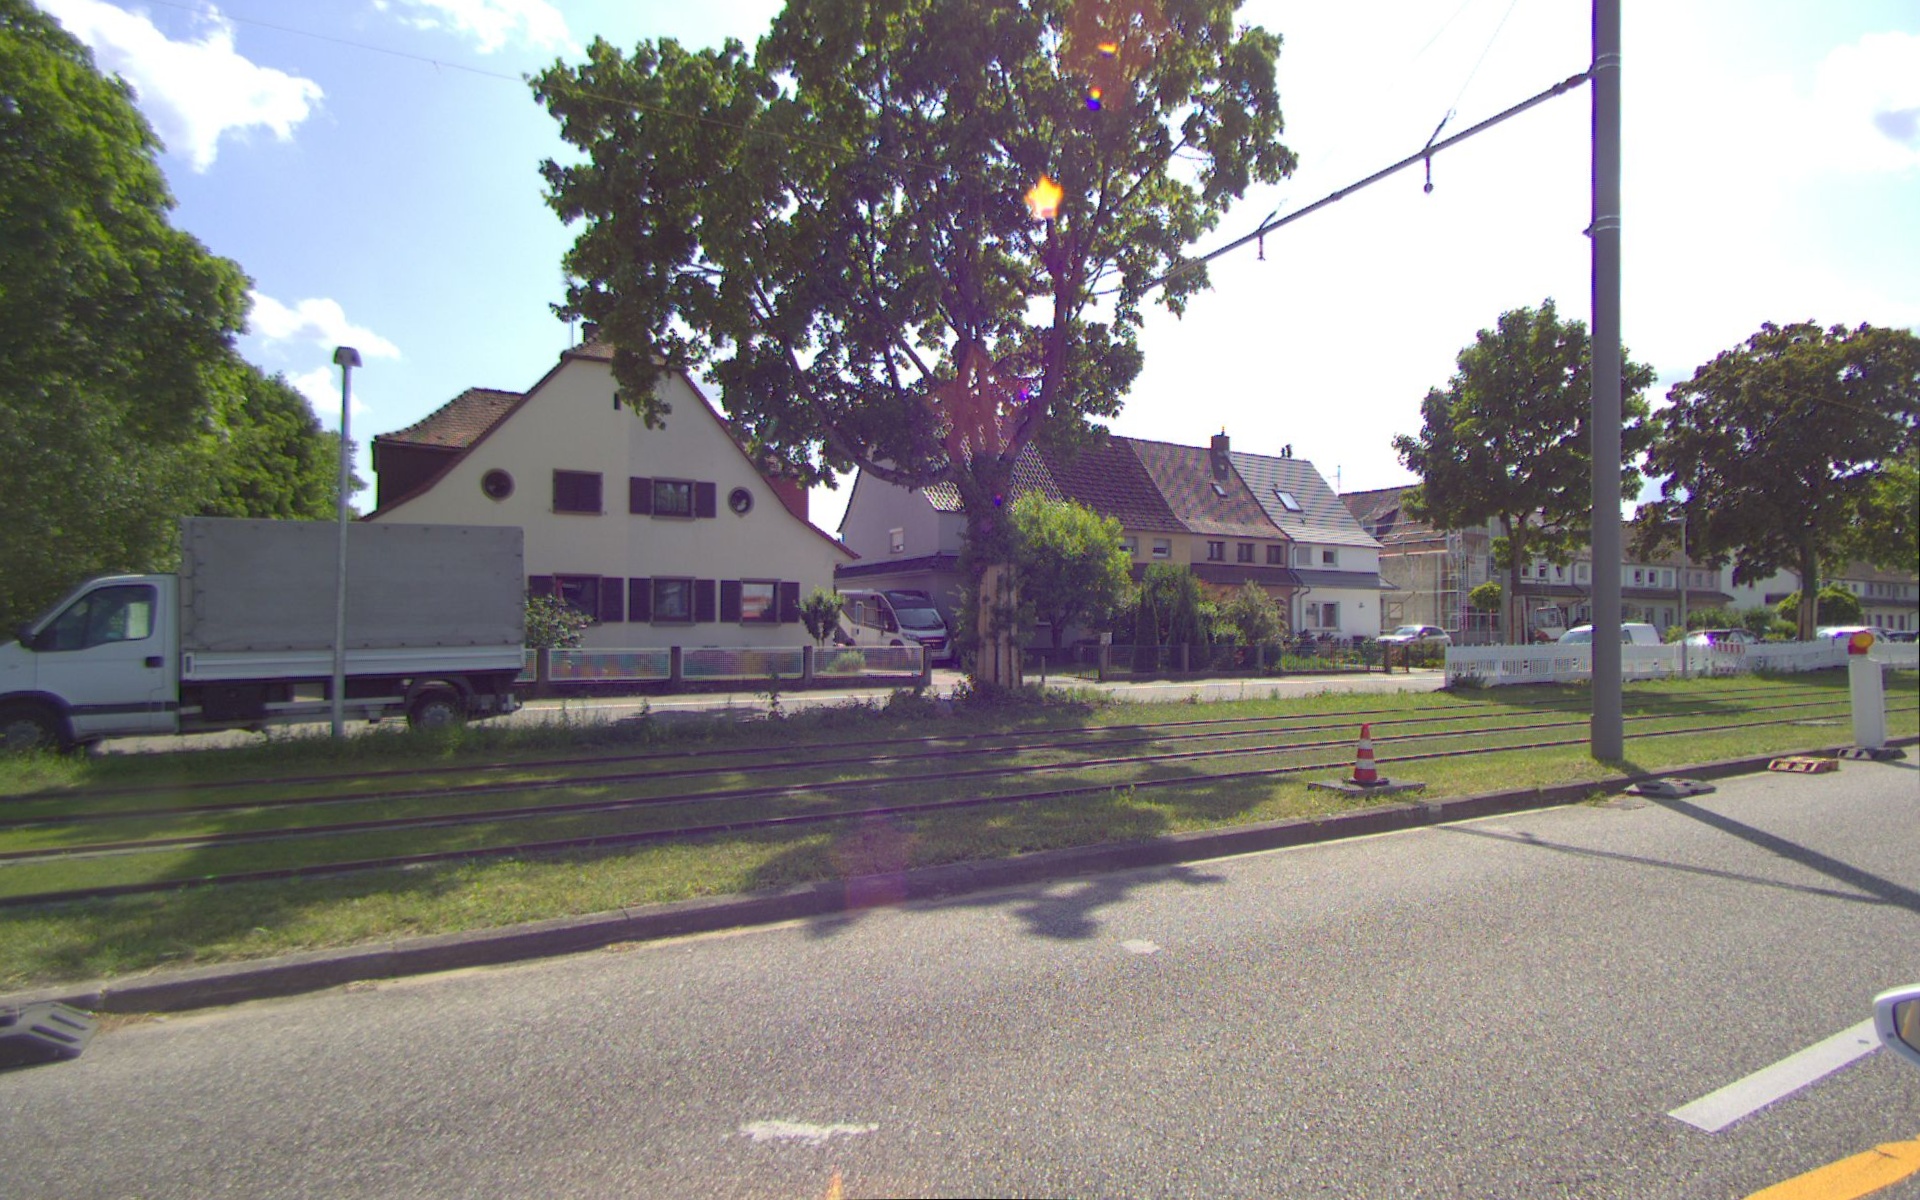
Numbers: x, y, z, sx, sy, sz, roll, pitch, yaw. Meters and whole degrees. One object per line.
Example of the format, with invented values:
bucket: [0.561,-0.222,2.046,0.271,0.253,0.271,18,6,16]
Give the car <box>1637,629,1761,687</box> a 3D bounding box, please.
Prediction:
car: [24.285,1.852,32.989,4.177,1.797,1.768,1,-2,-30]

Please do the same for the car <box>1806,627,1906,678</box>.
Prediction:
car: [35.371,2.029,39.637,4.079,1.892,1.768,1,-2,-30]

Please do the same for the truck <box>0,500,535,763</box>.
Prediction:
truck: [-8.827,0.400,12.970,5.906,2.817,2.255,1,-2,-31]

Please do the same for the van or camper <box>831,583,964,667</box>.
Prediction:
van or camper: [-2.415,0.934,36.619,2.269,2.801,6.051,1,-2,-32]

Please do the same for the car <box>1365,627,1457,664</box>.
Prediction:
car: [19.999,1.988,44.493,3.952,1.539,1.768,1,-2,-30]

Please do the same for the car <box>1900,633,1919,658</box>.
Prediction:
car: [70.042,3.303,72.741,4.079,1.745,1.768,1,-2,-30]

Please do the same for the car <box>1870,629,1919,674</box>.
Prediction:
car: [40.655,2.163,42.693,4.079,1.829,1.768,1,-2,-30]

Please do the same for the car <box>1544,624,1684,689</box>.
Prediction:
car: [19.575,1.641,30.030,4.312,1.845,1.768,1,-2,-30]
